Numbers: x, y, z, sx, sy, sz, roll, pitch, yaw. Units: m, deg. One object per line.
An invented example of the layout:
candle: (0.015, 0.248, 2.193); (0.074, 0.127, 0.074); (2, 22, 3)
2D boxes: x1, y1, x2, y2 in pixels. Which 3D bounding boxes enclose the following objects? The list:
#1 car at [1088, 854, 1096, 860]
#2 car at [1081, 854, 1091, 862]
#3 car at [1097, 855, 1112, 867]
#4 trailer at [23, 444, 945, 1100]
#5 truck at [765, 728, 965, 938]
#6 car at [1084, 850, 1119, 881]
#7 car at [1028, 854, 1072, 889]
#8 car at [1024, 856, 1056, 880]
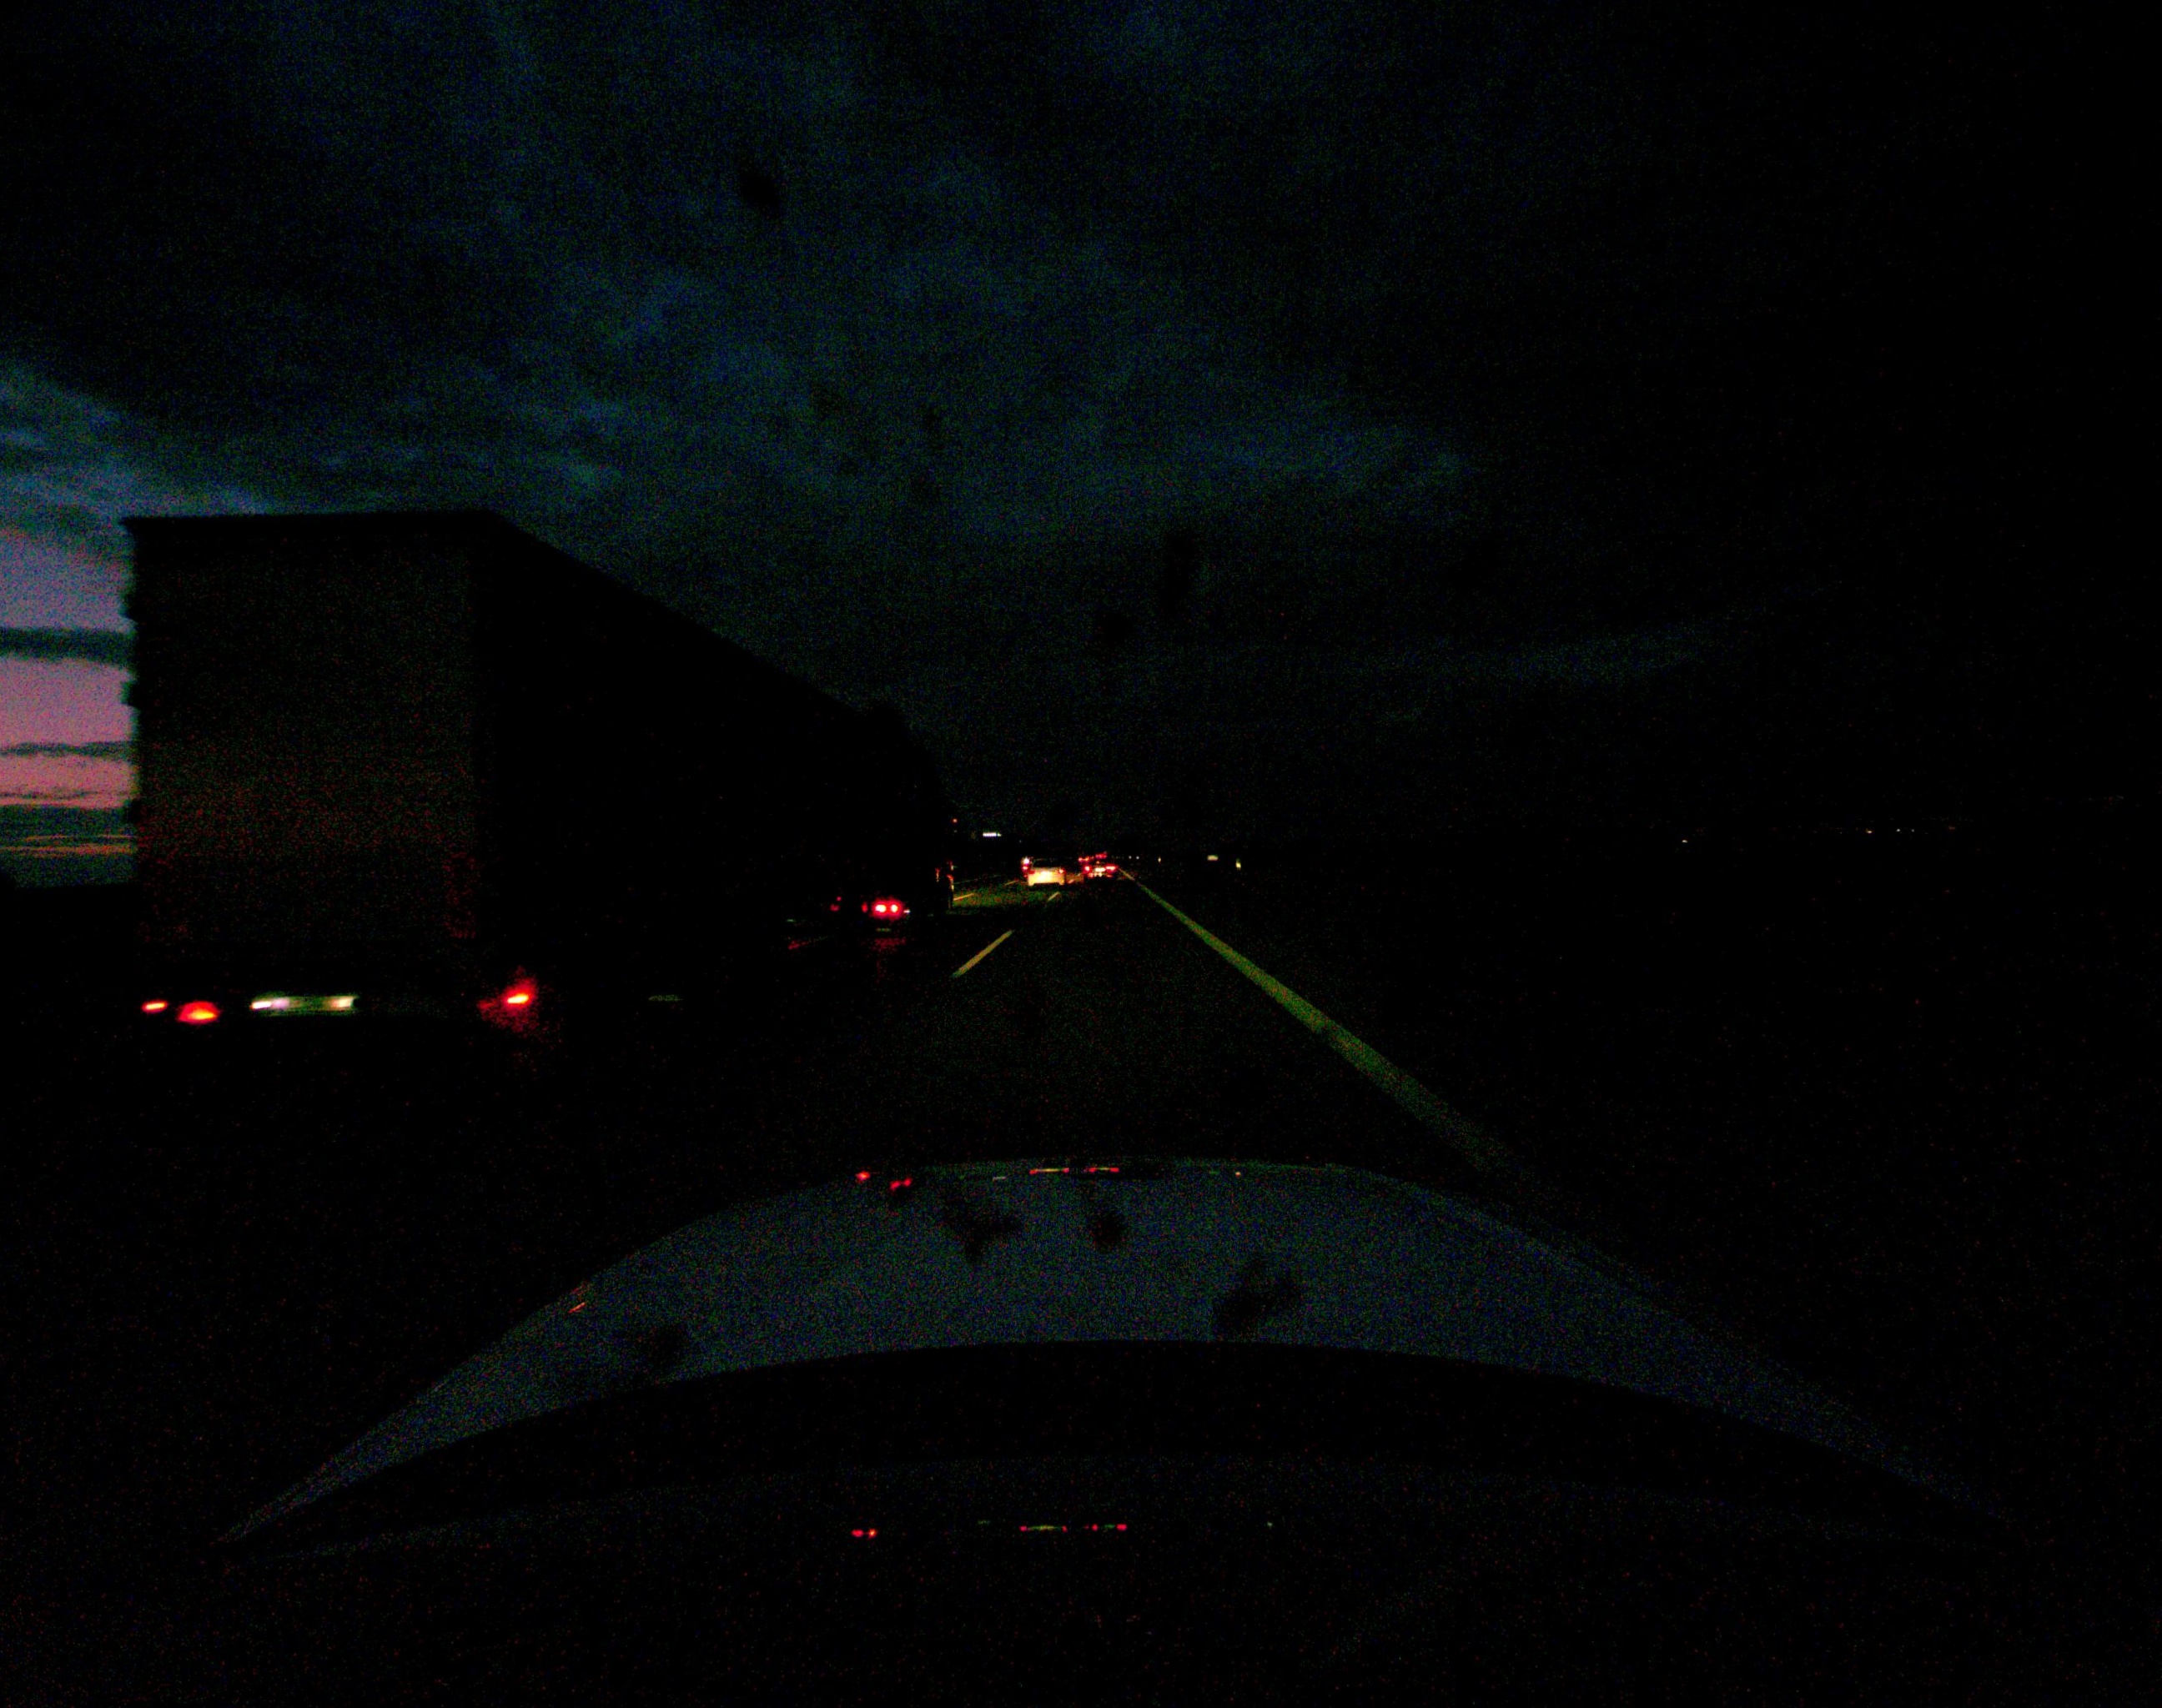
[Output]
car: (3.300, 0.918, 242.119); (2.191, 1.879, 4.001); (0, -1, 1)
car: (0.928, 0.764, 157.908); (1.874, 1.552, 4.000); (0, -1, 1)
car: (2.927, 0.878, 103.379); (1.874, 1.552, 4.000); (0, -1, 1)
trailer: (-5.044, -0.447, 12.431); (2.783, 4.085, 14.533); (-2, -1, 2)
truck: (-4.745, -0.386, 19.268); (2.767, 4.093, 6.106); (-2, -1, 2)
car: (1.184, 0.636, 46.132); (1.873, 1.643, 4.001); (0, -1, 1)
car: (-1.433, 0.811, 38.804); (1.737, 1.525, 4.416); (0, -1, 2)
car: (-2.636, 0.894, 52.821); (1.716, 1.471, 4.727); (0, -1, 1)
